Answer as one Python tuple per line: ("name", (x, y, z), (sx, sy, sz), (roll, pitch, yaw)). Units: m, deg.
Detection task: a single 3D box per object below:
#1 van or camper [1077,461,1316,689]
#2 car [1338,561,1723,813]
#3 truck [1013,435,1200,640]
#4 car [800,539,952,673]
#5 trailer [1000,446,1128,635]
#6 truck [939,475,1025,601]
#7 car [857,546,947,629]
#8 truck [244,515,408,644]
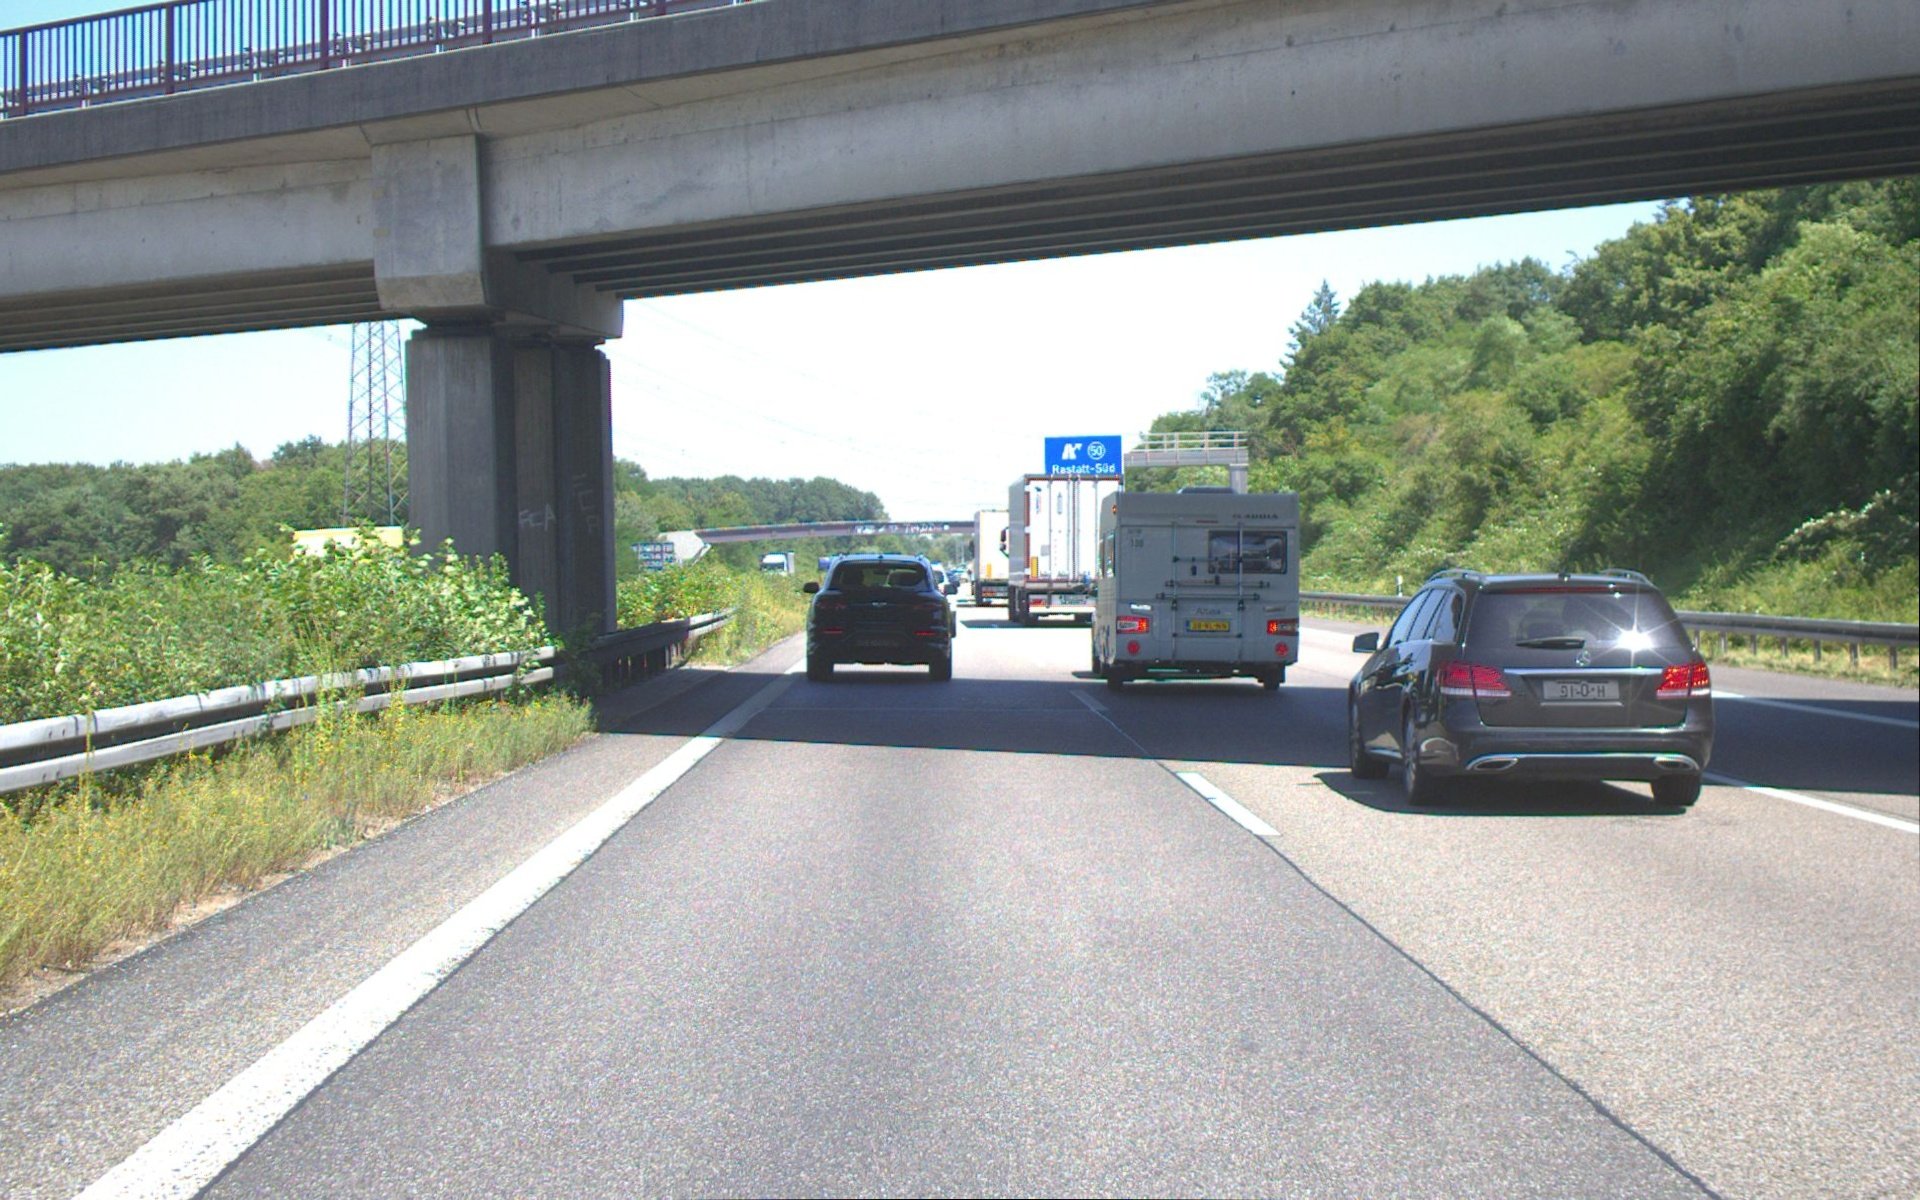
("van or camper", (2.914, -0.336, 43.979), (2.439, 2.665, 6.350), (-1, 1, -1))
("car", (3.681, 0.496, 22.984), (1.841, 1.500, 4.738), (0, 1, 1))
("truck", (3.190, -1.346, 80.206), (3.571, 4.230, 16.604), (1, 0, 0))
("car", (-1.167, 0.054, 47.922), (1.993, 1.766, 4.000), (-1, 1, -1))
("trailer", (2.765, -1.570, 95.218), (3.087, 4.868, 12.258), (1, 0, 0))
("truck", (0.882, -2.595, 146.191), (3.512, 5.149, 10.259), (0, 1, 0))
("car", (-1.333, -0.317, 78.405), (1.961, 1.808, 4.449), (-1, 1, -1))
("truck", (-19.635, -0.652, 106.995), (3.512, 3.849, 8.662), (0, 1, 0))
